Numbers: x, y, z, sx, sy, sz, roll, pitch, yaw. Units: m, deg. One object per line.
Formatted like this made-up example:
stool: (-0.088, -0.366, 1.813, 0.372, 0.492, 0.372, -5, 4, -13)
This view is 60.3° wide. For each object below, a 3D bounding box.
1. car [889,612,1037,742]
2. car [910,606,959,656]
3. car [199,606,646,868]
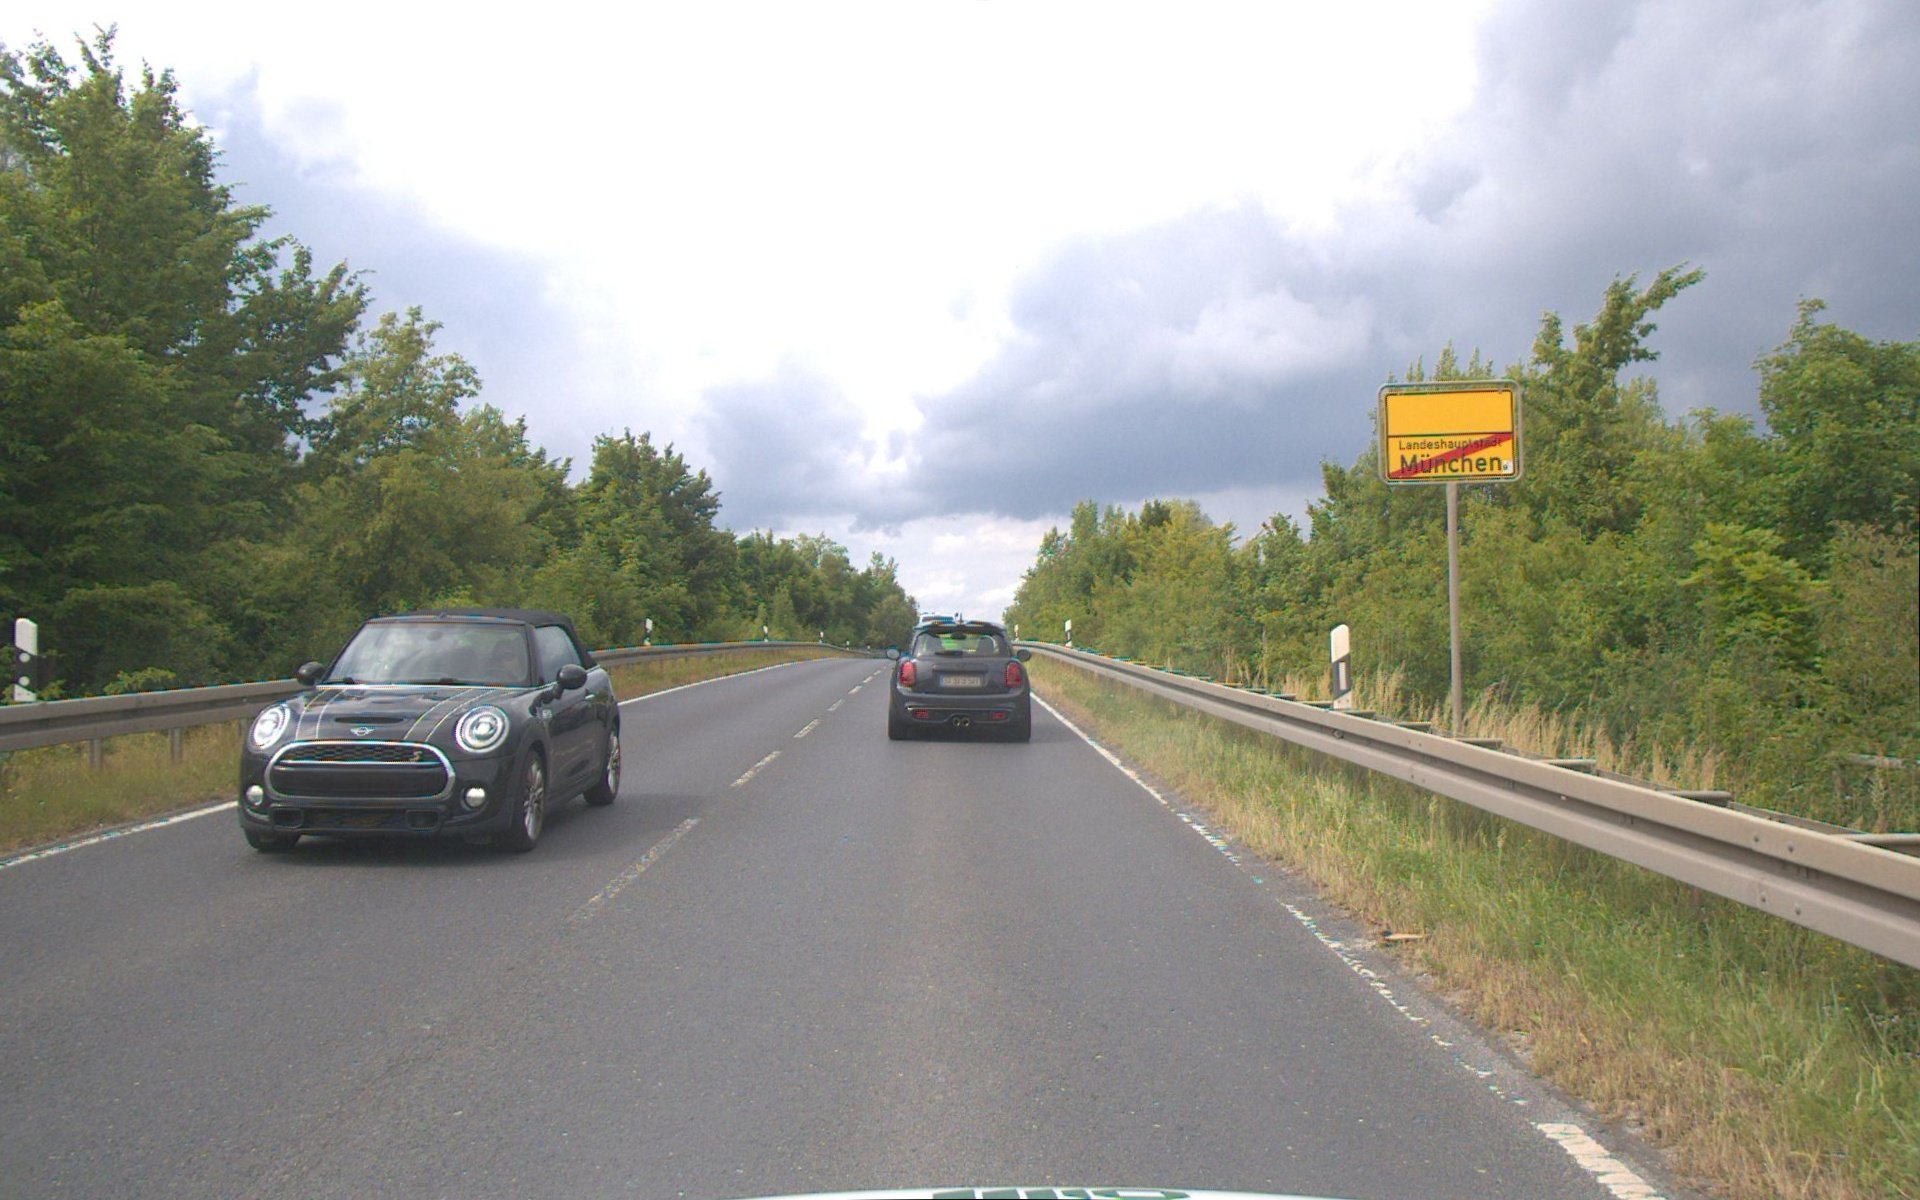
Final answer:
car: (0.075, 0.908, 21.075, 1.696, 1.481, 4.000, 0, -1, 1)
car: (-1.039, 1.317, 70.125, 1.981, 2.049, 4.000, -1, -1, 0)
car: (-3.394, 0.777, 11.287, 1.798, 1.445, 3.999, 0, 0, -1)
